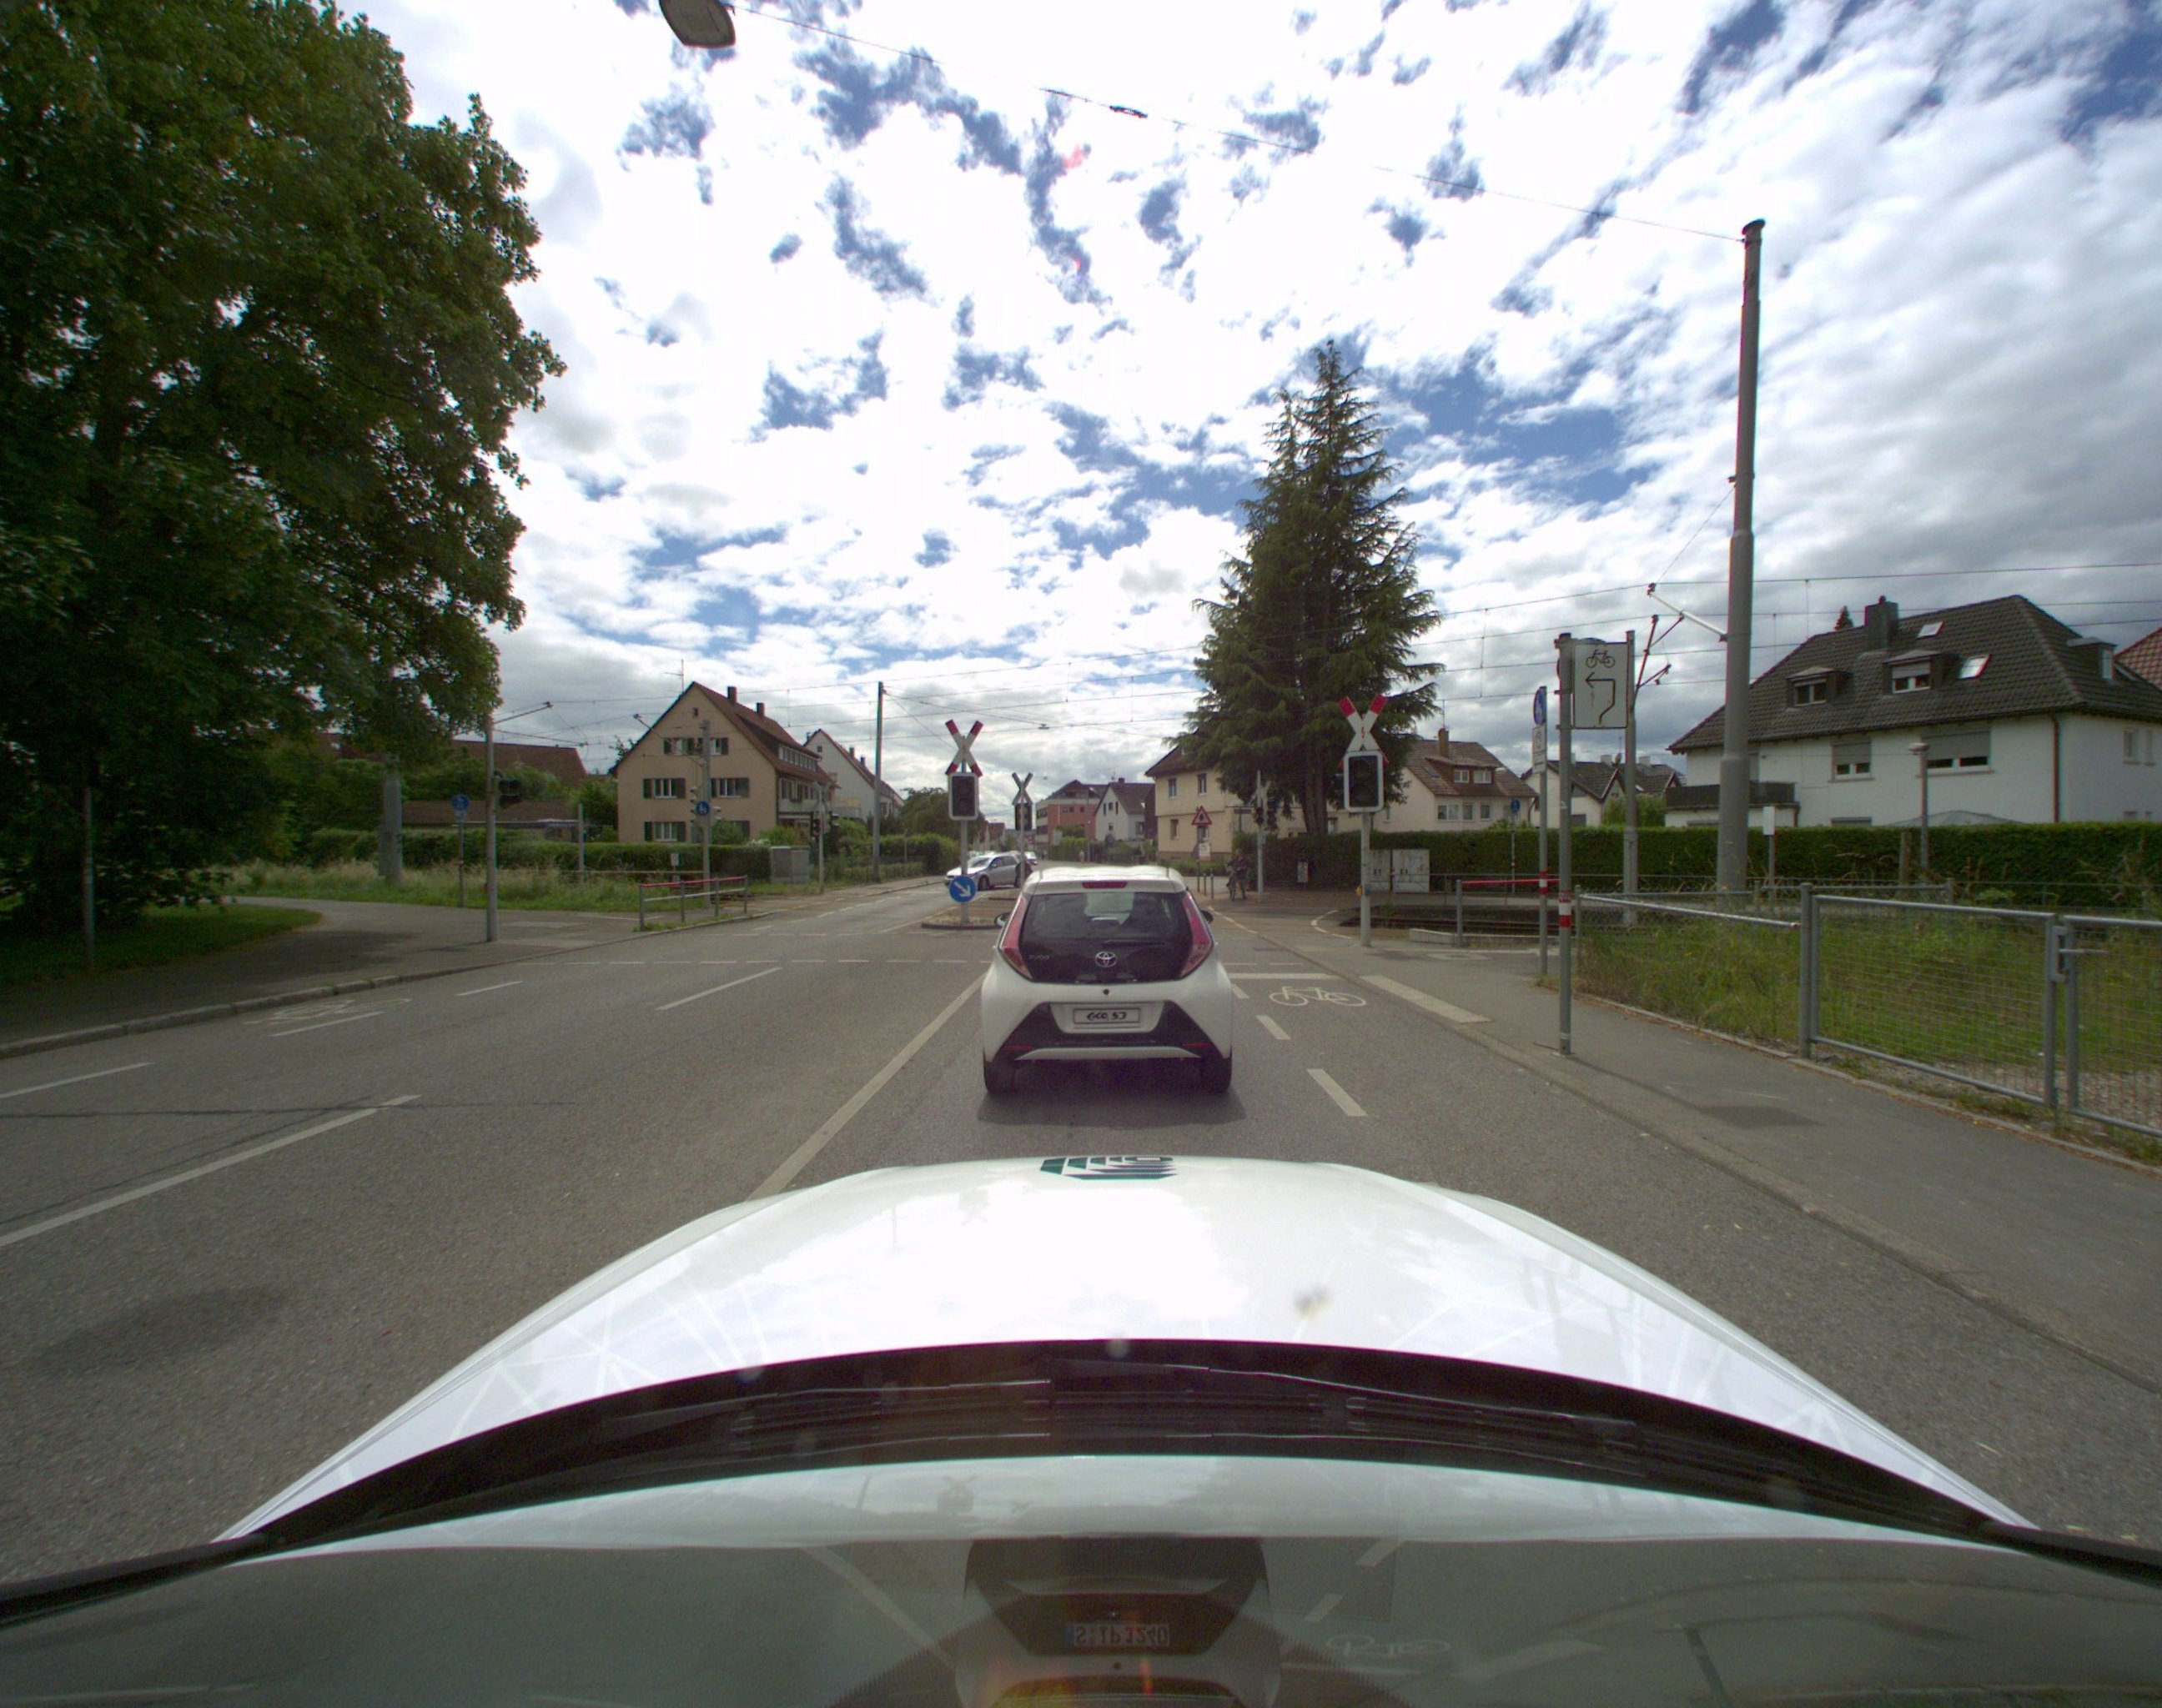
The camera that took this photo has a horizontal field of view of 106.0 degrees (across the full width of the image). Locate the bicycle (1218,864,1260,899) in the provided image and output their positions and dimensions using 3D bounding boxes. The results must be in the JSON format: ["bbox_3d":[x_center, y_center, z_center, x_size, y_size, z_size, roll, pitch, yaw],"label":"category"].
[{"bbox_3d":[5.126,0.876,26.358,0.923,1.040,1.925,-2,0,23],"label":"bicycle"}]

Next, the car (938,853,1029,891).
[{"bbox_3d":[-4.077,0.725,34.686,1.672,1.458,4.095,0,1,32],"label":"car"}]

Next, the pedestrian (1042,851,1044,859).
[{"bbox_3d":[-6.494,0.201,139.273,0.413,1.437,0.436,0,0,-9],"label":"pedestrian"}]

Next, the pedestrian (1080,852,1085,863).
[{"bbox_3d":[0.196,0.422,102.718,0.439,1.437,0.410,0,0,-34],"label":"pedestrian"}]

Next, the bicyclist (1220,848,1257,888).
[{"bbox_3d":[5.078,0.428,26.271,0.923,1.247,1.108,-2,0,23],"label":"bicyclist"}]

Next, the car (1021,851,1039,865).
[{"bbox_3d":[-6.060,0.486,96.424,1.775,1.561,4.155,-1,0,-10],"label":"car"}]

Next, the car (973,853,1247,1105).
[{"bbox_3d":[0.236,0.763,6.862,1.615,1.486,4.001,-1,-1,2],"label":"car"}]

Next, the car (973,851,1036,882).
[{"bbox_3d":[-3.794,0.600,40.841,1.560,1.510,2.804,0,-1,44],"label":"car"}]
